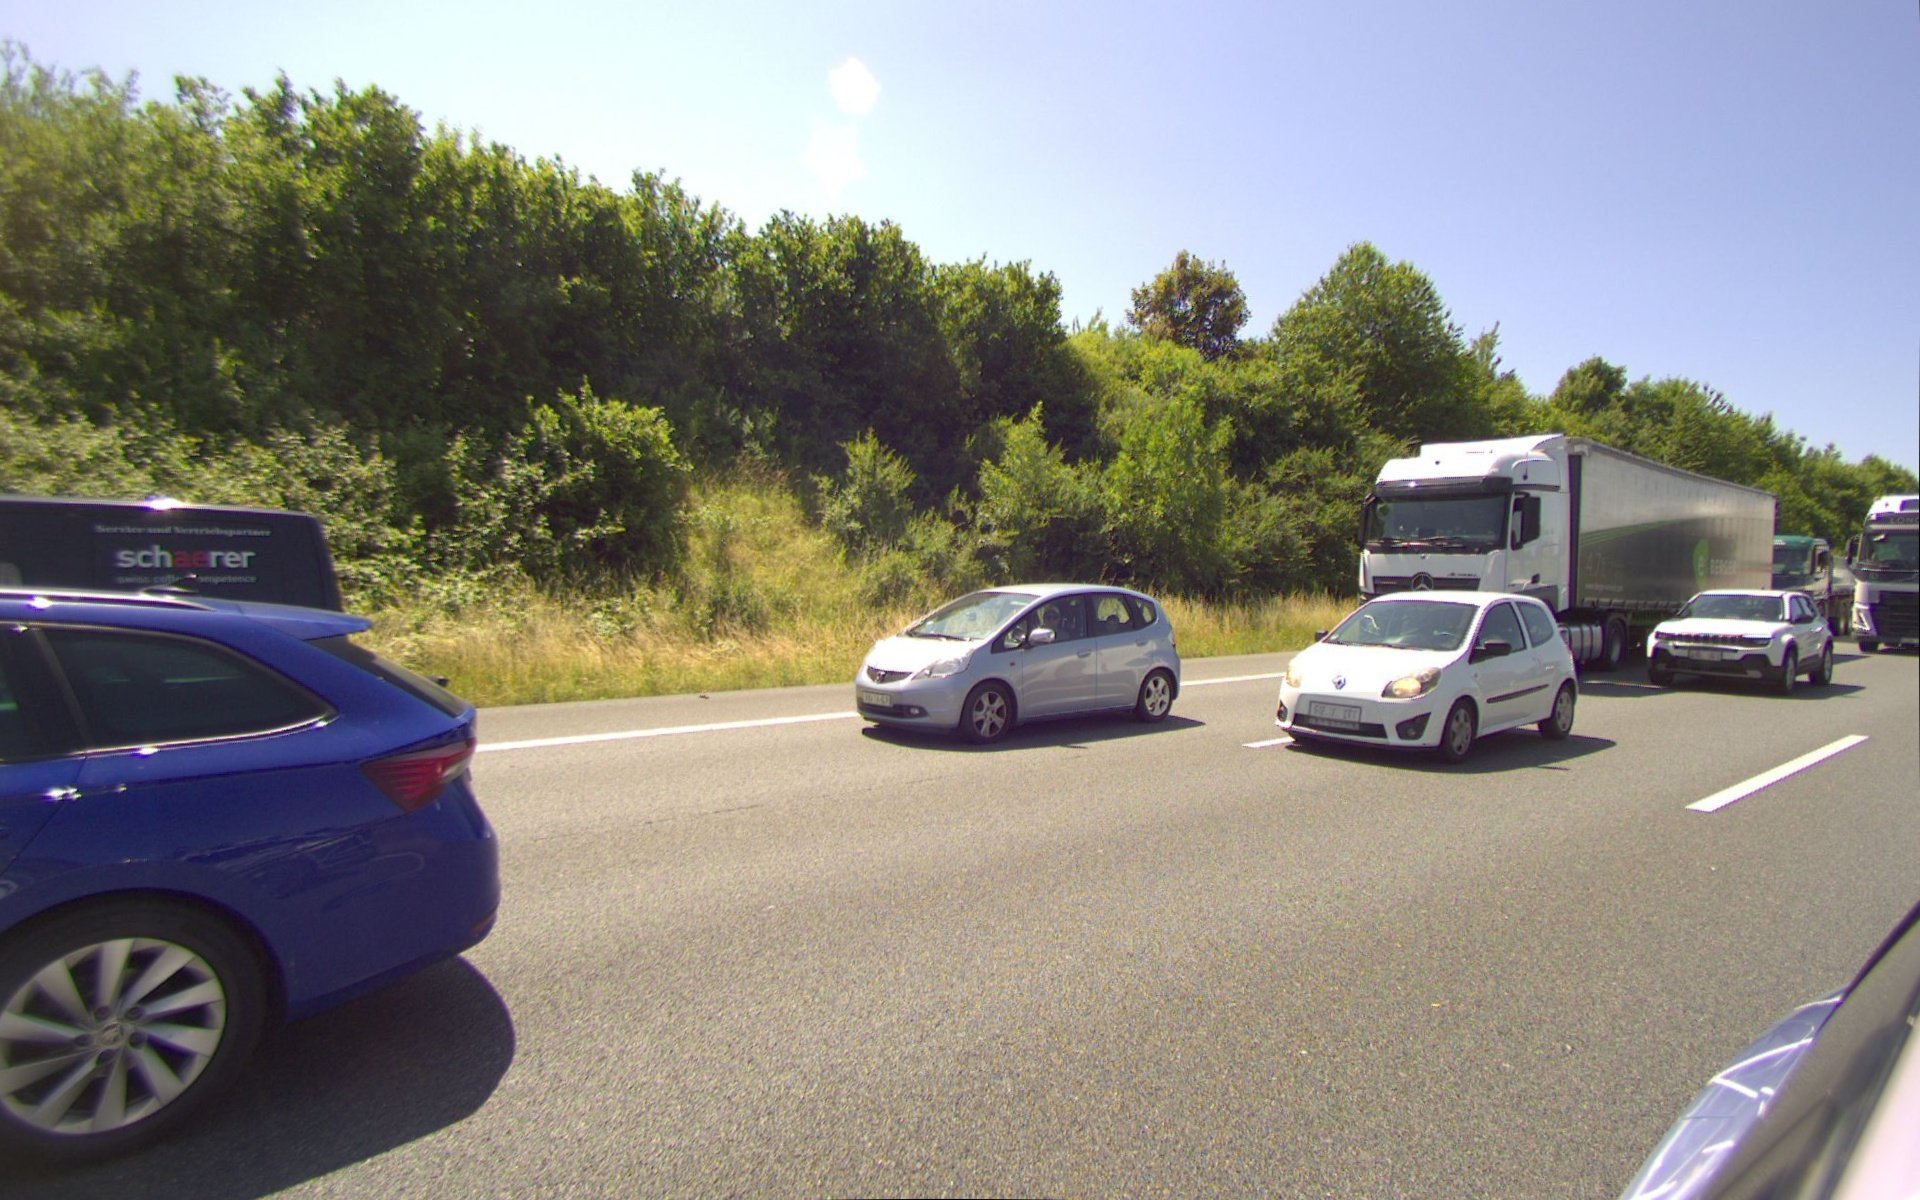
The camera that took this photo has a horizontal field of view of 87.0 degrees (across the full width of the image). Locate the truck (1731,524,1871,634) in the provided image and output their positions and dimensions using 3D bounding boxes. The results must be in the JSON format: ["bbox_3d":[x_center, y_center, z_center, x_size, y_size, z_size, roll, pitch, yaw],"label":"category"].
[{"bbox_3d":[26.699,-0.668,32.048,5.572,3.185,2.300,-1,1,-38],"label":"truck"}]

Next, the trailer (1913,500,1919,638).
[{"bbox_3d":[32.207,-0.931,31.249,8.990,4.023,2.776,-1,1,-38],"label":"trailer"}]

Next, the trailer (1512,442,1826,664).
[{"bbox_3d":[17.211,-0.991,23.993,11.857,4.208,2.880,-1,1,-39],"label":"trailer"}]

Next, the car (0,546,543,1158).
[{"bbox_3d":[-3.580,0.581,2.394,4.493,1.434,1.780,-2,3,-41],"label":"car"}]

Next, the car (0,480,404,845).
[{"bbox_3d":[-6.105,0.316,5.893,4.770,1.964,1.918,-1,2,-39],"label":"car"}]

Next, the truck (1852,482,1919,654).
[{"bbox_3d":[25.932,-0.793,26.254,8.209,4.044,2.750,-1,1,-38],"label":"truck"}]

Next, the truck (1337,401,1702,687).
[{"bbox_3d":[10.554,-0.907,18.627,8.321,4.208,2.880,-1,1,-38],"label":"truck"}]

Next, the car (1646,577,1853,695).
[{"bbox_3d":[12.547,0.465,16.021,3.815,1.577,1.748,-1,3,-39],"label":"car"}]

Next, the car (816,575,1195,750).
[{"bbox_3d":[0.587,0.509,10.631,3.853,1.479,1.666,-1,3,-40],"label":"car"}]

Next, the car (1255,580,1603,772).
[{"bbox_3d":[4.657,0.567,9.847,3.742,1.451,1.609,-1,3,-40],"label":"car"}]
